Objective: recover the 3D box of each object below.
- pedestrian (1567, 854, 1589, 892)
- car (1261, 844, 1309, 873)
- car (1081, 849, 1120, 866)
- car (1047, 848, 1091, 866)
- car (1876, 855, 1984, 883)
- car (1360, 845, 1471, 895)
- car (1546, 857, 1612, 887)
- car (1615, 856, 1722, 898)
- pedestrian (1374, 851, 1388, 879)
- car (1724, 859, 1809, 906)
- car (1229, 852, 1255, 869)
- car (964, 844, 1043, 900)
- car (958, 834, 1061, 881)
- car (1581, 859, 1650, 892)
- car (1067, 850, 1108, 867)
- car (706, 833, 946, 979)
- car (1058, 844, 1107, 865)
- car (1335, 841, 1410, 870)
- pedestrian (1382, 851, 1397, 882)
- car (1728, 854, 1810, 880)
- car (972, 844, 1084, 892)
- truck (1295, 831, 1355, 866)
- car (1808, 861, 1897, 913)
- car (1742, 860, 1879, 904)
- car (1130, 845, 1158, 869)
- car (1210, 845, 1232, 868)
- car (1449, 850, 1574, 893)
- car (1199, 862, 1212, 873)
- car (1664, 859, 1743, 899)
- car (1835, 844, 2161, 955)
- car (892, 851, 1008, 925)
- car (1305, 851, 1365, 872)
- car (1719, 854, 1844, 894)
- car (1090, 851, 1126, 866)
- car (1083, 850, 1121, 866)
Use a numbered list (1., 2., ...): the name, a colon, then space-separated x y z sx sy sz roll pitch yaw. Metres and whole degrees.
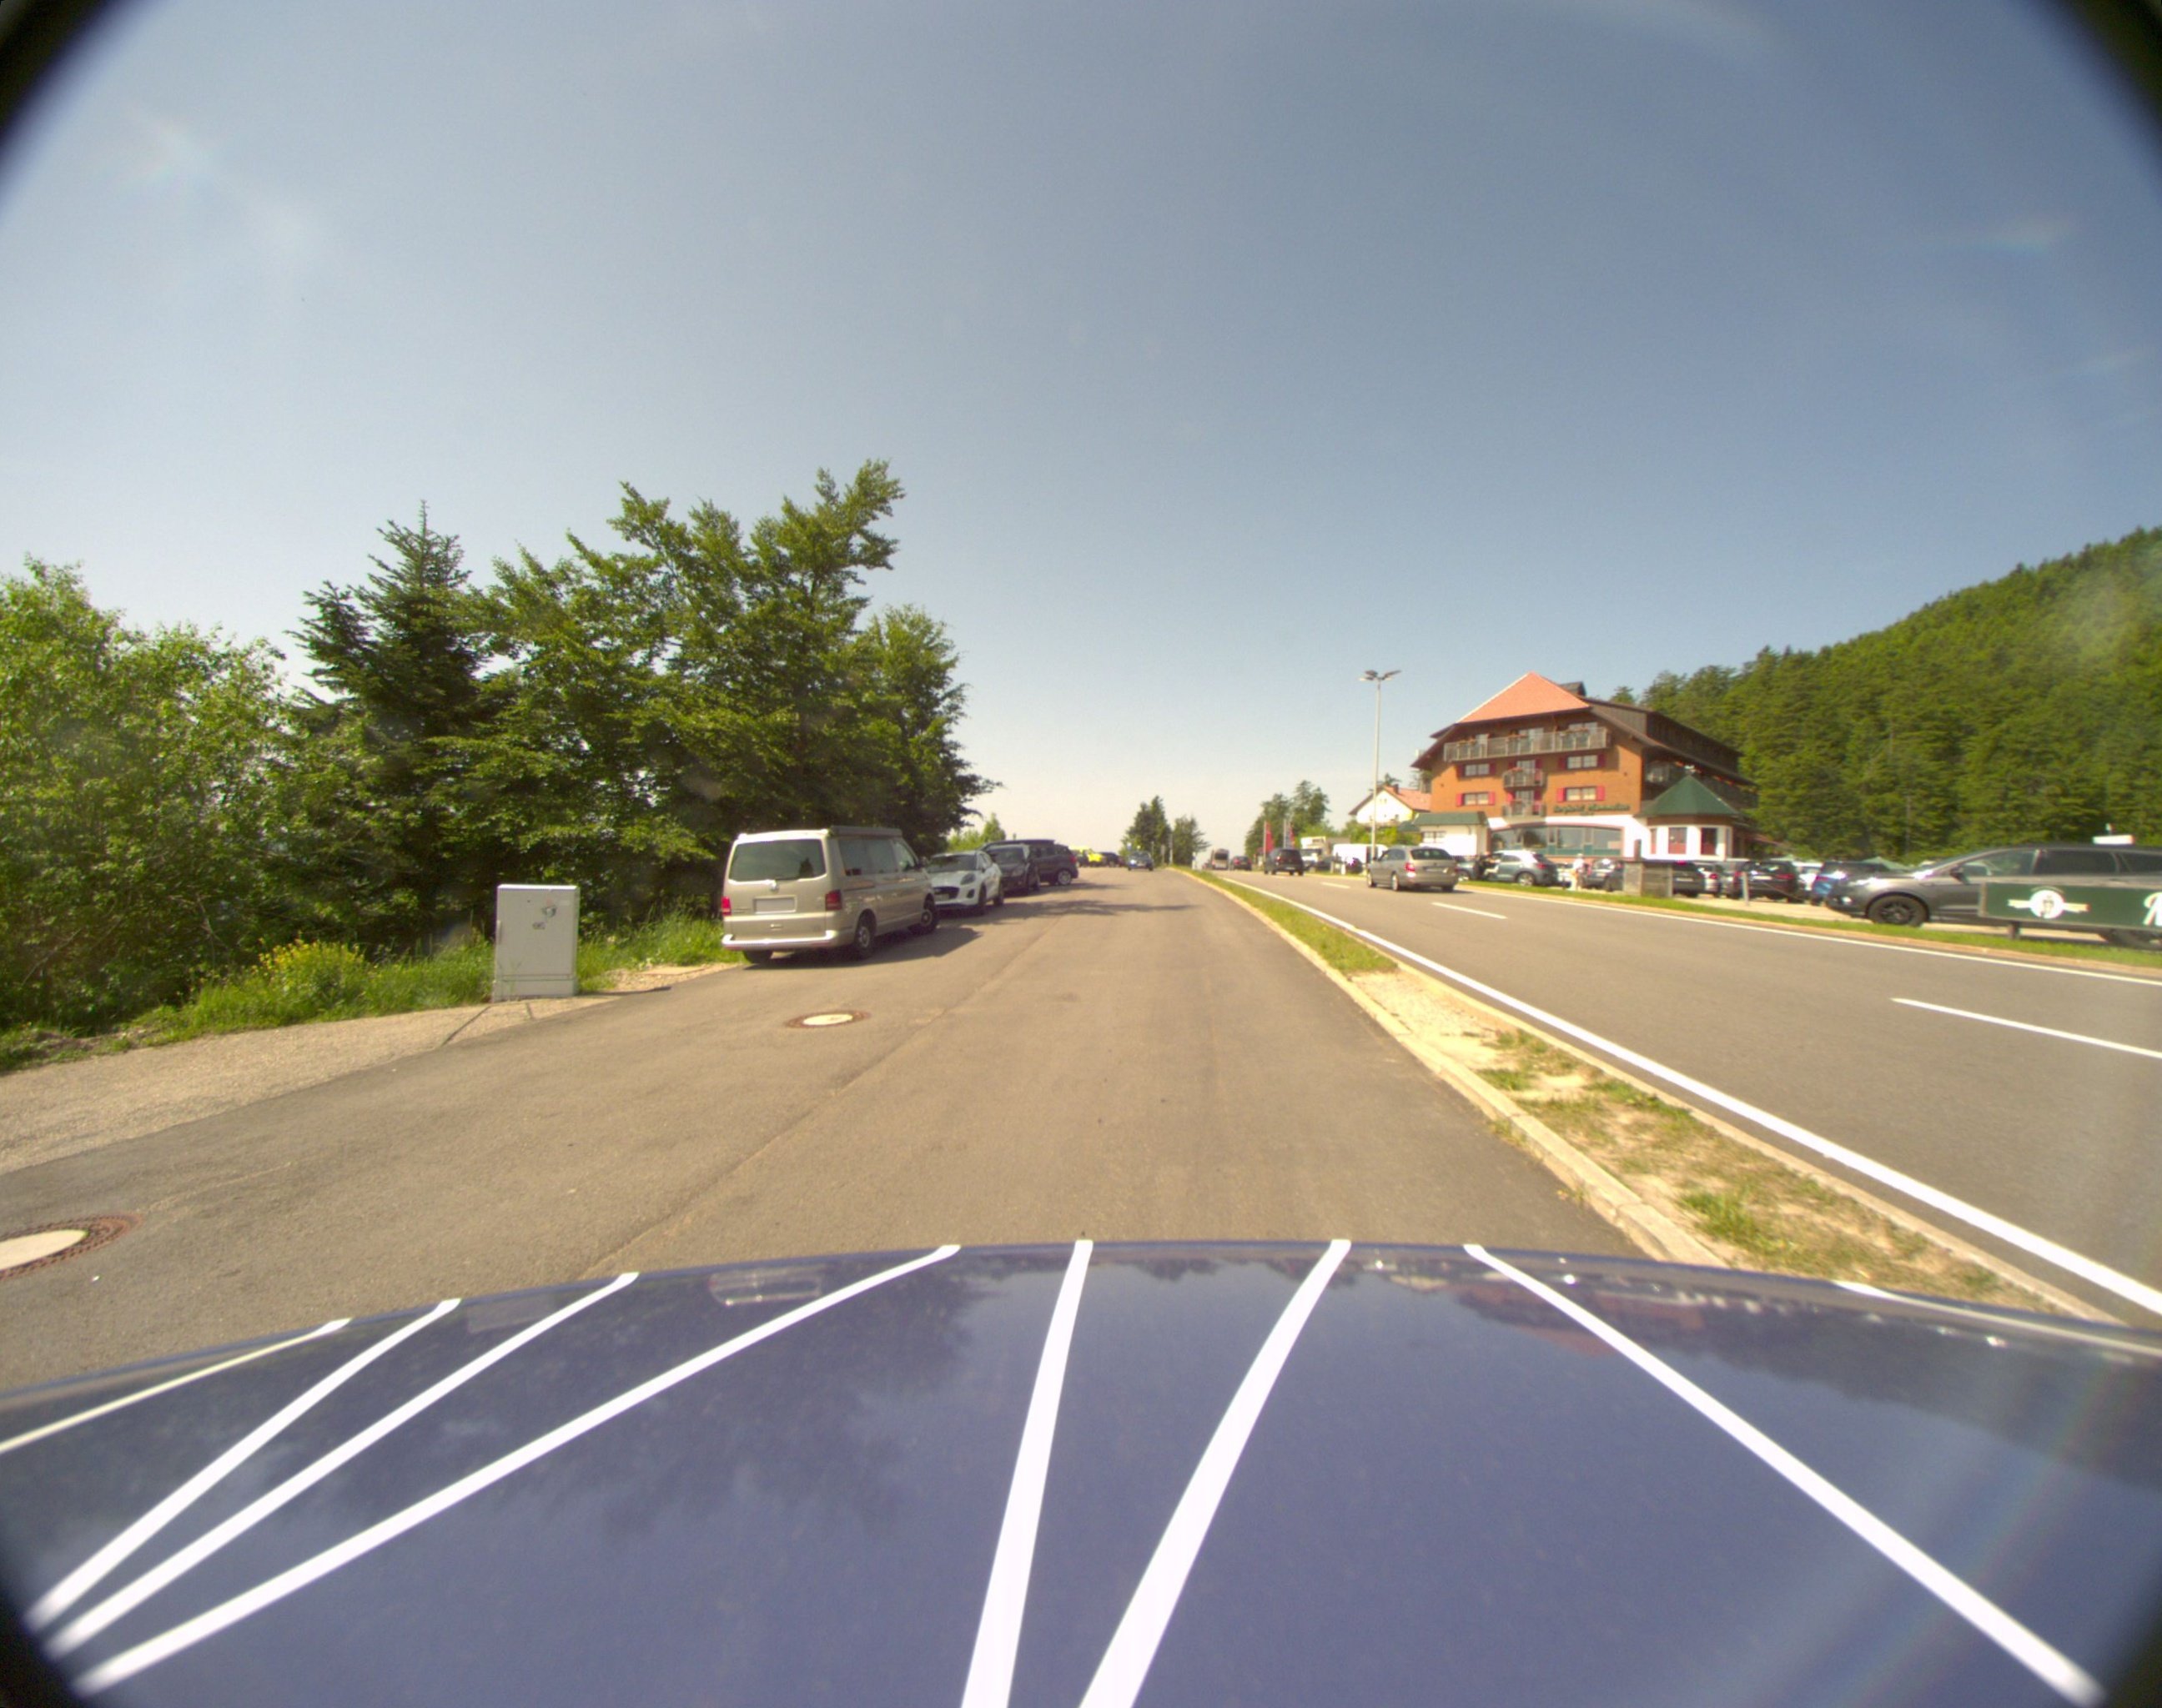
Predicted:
1. pedestrian: 21.451 0.801 32.780 0.744 1.615 0.684 2 2 34
2. car: 12.409 0.240 46.459 1.998 1.638 4.568 1 1 5
3. car: 2.065 0.373 79.173 3.908 1.605 1.877 1 1 7
4. car: -1.101 0.284 70.626 3.908 1.605 1.877 1 1 7
5. car: 57.891 0.977 51.913 1.924 1.706 4.831 0 2 -41
6. car: 10.797 0.459 24.915 1.883 1.466 4.715 -1 1 4
7. car: 26.699 0.932 40.721 4.103 1.504 1.818 0 2 -40
8. car: 22.564 0.826 29.374 1.719 1.422 4.004 2 1 14
9. pedestrian: 21.089 0.760 53.456 0.717 2.002 0.803 0 1 3
10. car: 26.249 1.018 29.054 4.103 1.619 1.818 0 2 -40
11. car: 15.015 0.581 70.923 1.710 1.429 4.450 1 1 4
12. car: -2.469 0.516 25.124 1.874 1.609 4.000 -3 1 4
13. car: -3.388 0.139 35.641 4.462 1.914 1.874 -3 1 -15
14. car: 26.867 1.023 38.136 4.103 1.504 1.818 0 2 -40
15. car: 0.685 0.475 76.440 3.908 1.605 1.877 1 1 7
16. car: -3.919 0.699 12.695 1.860 1.924 4.611 -3 0 8
17. car: 0.185 0.029 73.243 4.454 1.914 1.877 1 1 7
18. car: 29.640 0.124 77.388 6.948 2.775 2.671 1 1 23
19. pedestrian: 20.685 0.833 50.928 0.717 2.002 0.803 0 1 3
20. car: 49.110 0.883 54.264 1.924 1.706 4.082 0 2 -42
21. car: -2.097 0.519 29.560 4.002 1.609 1.874 -3 1 -15
22. truck: 27.298 -0.570 84.826 2.876 3.798 9.036 -1 0 42
23. car: 26.850 1.069 26.410 4.103 1.619 1.818 0 2 -40
24. car: 31.216 1.139 32.576 1.828 1.619 4.082 0 2 -43
25. car: 4.456 0.203 53.915 1.874 1.605 3.914 1 1 4
26. car: 17.017 0.264 92.892 2.015 2.735 5.918 1 1 5
27. car: 18.268 0.681 32.386 1.828 1.619 4.258 0 2 -43
28. car: 20.358 2.247 124.015 1.720 1.672 4.131 1 1 5
29. car: 26.238 1.006 31.980 4.103 1.504 1.818 0 2 -40
30. car: 16.375 0.706 13.211 1.726 1.646 4.538 0 2 -44
31. car: -3.113 0.754 18.895 1.874 1.538 4.000 -3 1 4
32. car: 19.830 0.568 59.414 4.082 1.518 1.828 2 2 43
33. car: 32.506 0.867 35.342 1.828 1.619 4.082 0 2 -43
34. car: 3.027 0.510 85.784 3.908 1.605 1.877 1 1 7
35. car: 2.263 0.441 81.778 3.908 1.605 1.877 1 1 7
